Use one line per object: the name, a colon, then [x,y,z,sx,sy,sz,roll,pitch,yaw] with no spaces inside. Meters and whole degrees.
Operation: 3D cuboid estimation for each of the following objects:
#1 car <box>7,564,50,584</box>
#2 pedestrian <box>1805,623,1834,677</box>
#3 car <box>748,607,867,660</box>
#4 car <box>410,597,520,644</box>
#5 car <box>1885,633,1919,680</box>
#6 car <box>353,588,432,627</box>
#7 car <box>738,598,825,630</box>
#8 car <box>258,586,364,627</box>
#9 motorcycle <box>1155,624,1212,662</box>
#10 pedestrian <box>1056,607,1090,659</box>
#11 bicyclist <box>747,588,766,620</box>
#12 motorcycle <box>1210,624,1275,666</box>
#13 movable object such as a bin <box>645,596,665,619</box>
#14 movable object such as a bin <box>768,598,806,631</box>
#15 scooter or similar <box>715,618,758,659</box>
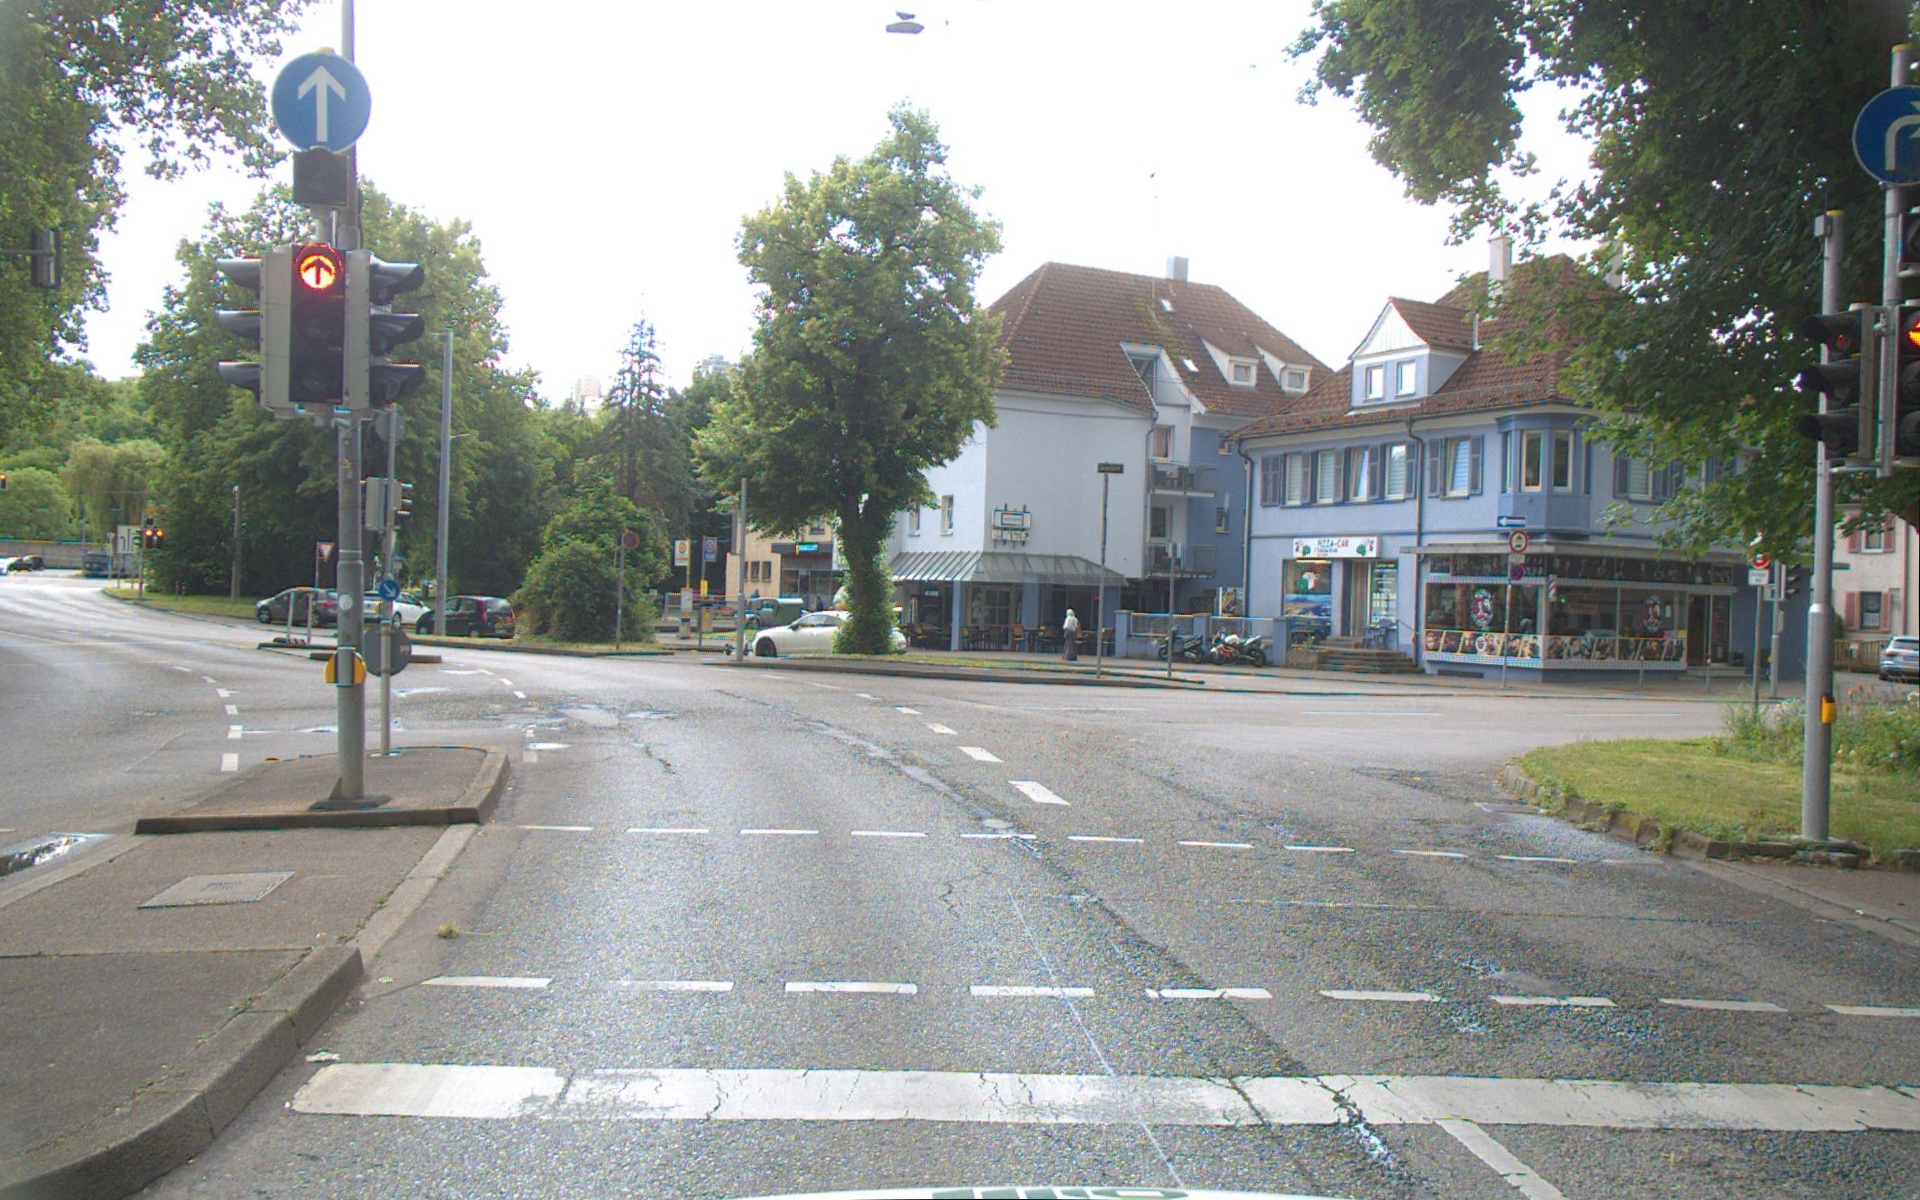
car: [-102.215,-2.850,181.490,3.948,2.049,1.978,1,0,-32]
pedestrian: [24.743,1.427,47.614,0.451,1.544,0.584,1,-1,-21]
car: [-4.246,0.914,45.957,3.110,1.378,1.435,1,0,34]
car: [-16.009,0.655,53.461,3.519,1.418,1.468,1,0,32]
car: [29.850,1.736,51.412,1.471,1.393,3.164,1,0,38]
car: [-22.670,0.300,66.183,1.512,1.490,3.398,1,0,10]
car: [-8.159,0.635,75.731,3.690,1.368,1.421,1,0,-27]
car: [-24.861,0.239,63.393,3.469,1.490,1.586,1,0,12]
motorcycle: [6.790,1.290,50.236,1.609,1.082,0.690,1,0,44]
pedestrian: [3.469,1.021,50.832,0.754,1.572,0.675,1,0,38]
bicyclist: [-10.331,0.209,84.007,0.595,1.568,0.728,2,0,-42]
motorcycle: [8.271,1.308,48.479,1.765,1.141,0.692,1,0,38]
movable object such as a bin: [-15.854,0.387,85.913,0.937,1.135,0.381,1,0,-22]
movable object such as a bin: [-7.720,0.652,73.840,1.424,1.433,0.959,1,0,-27]
scooter or similar: [-5.732,0.979,42.540,0.408,1.029,1.567,1,0,20]
